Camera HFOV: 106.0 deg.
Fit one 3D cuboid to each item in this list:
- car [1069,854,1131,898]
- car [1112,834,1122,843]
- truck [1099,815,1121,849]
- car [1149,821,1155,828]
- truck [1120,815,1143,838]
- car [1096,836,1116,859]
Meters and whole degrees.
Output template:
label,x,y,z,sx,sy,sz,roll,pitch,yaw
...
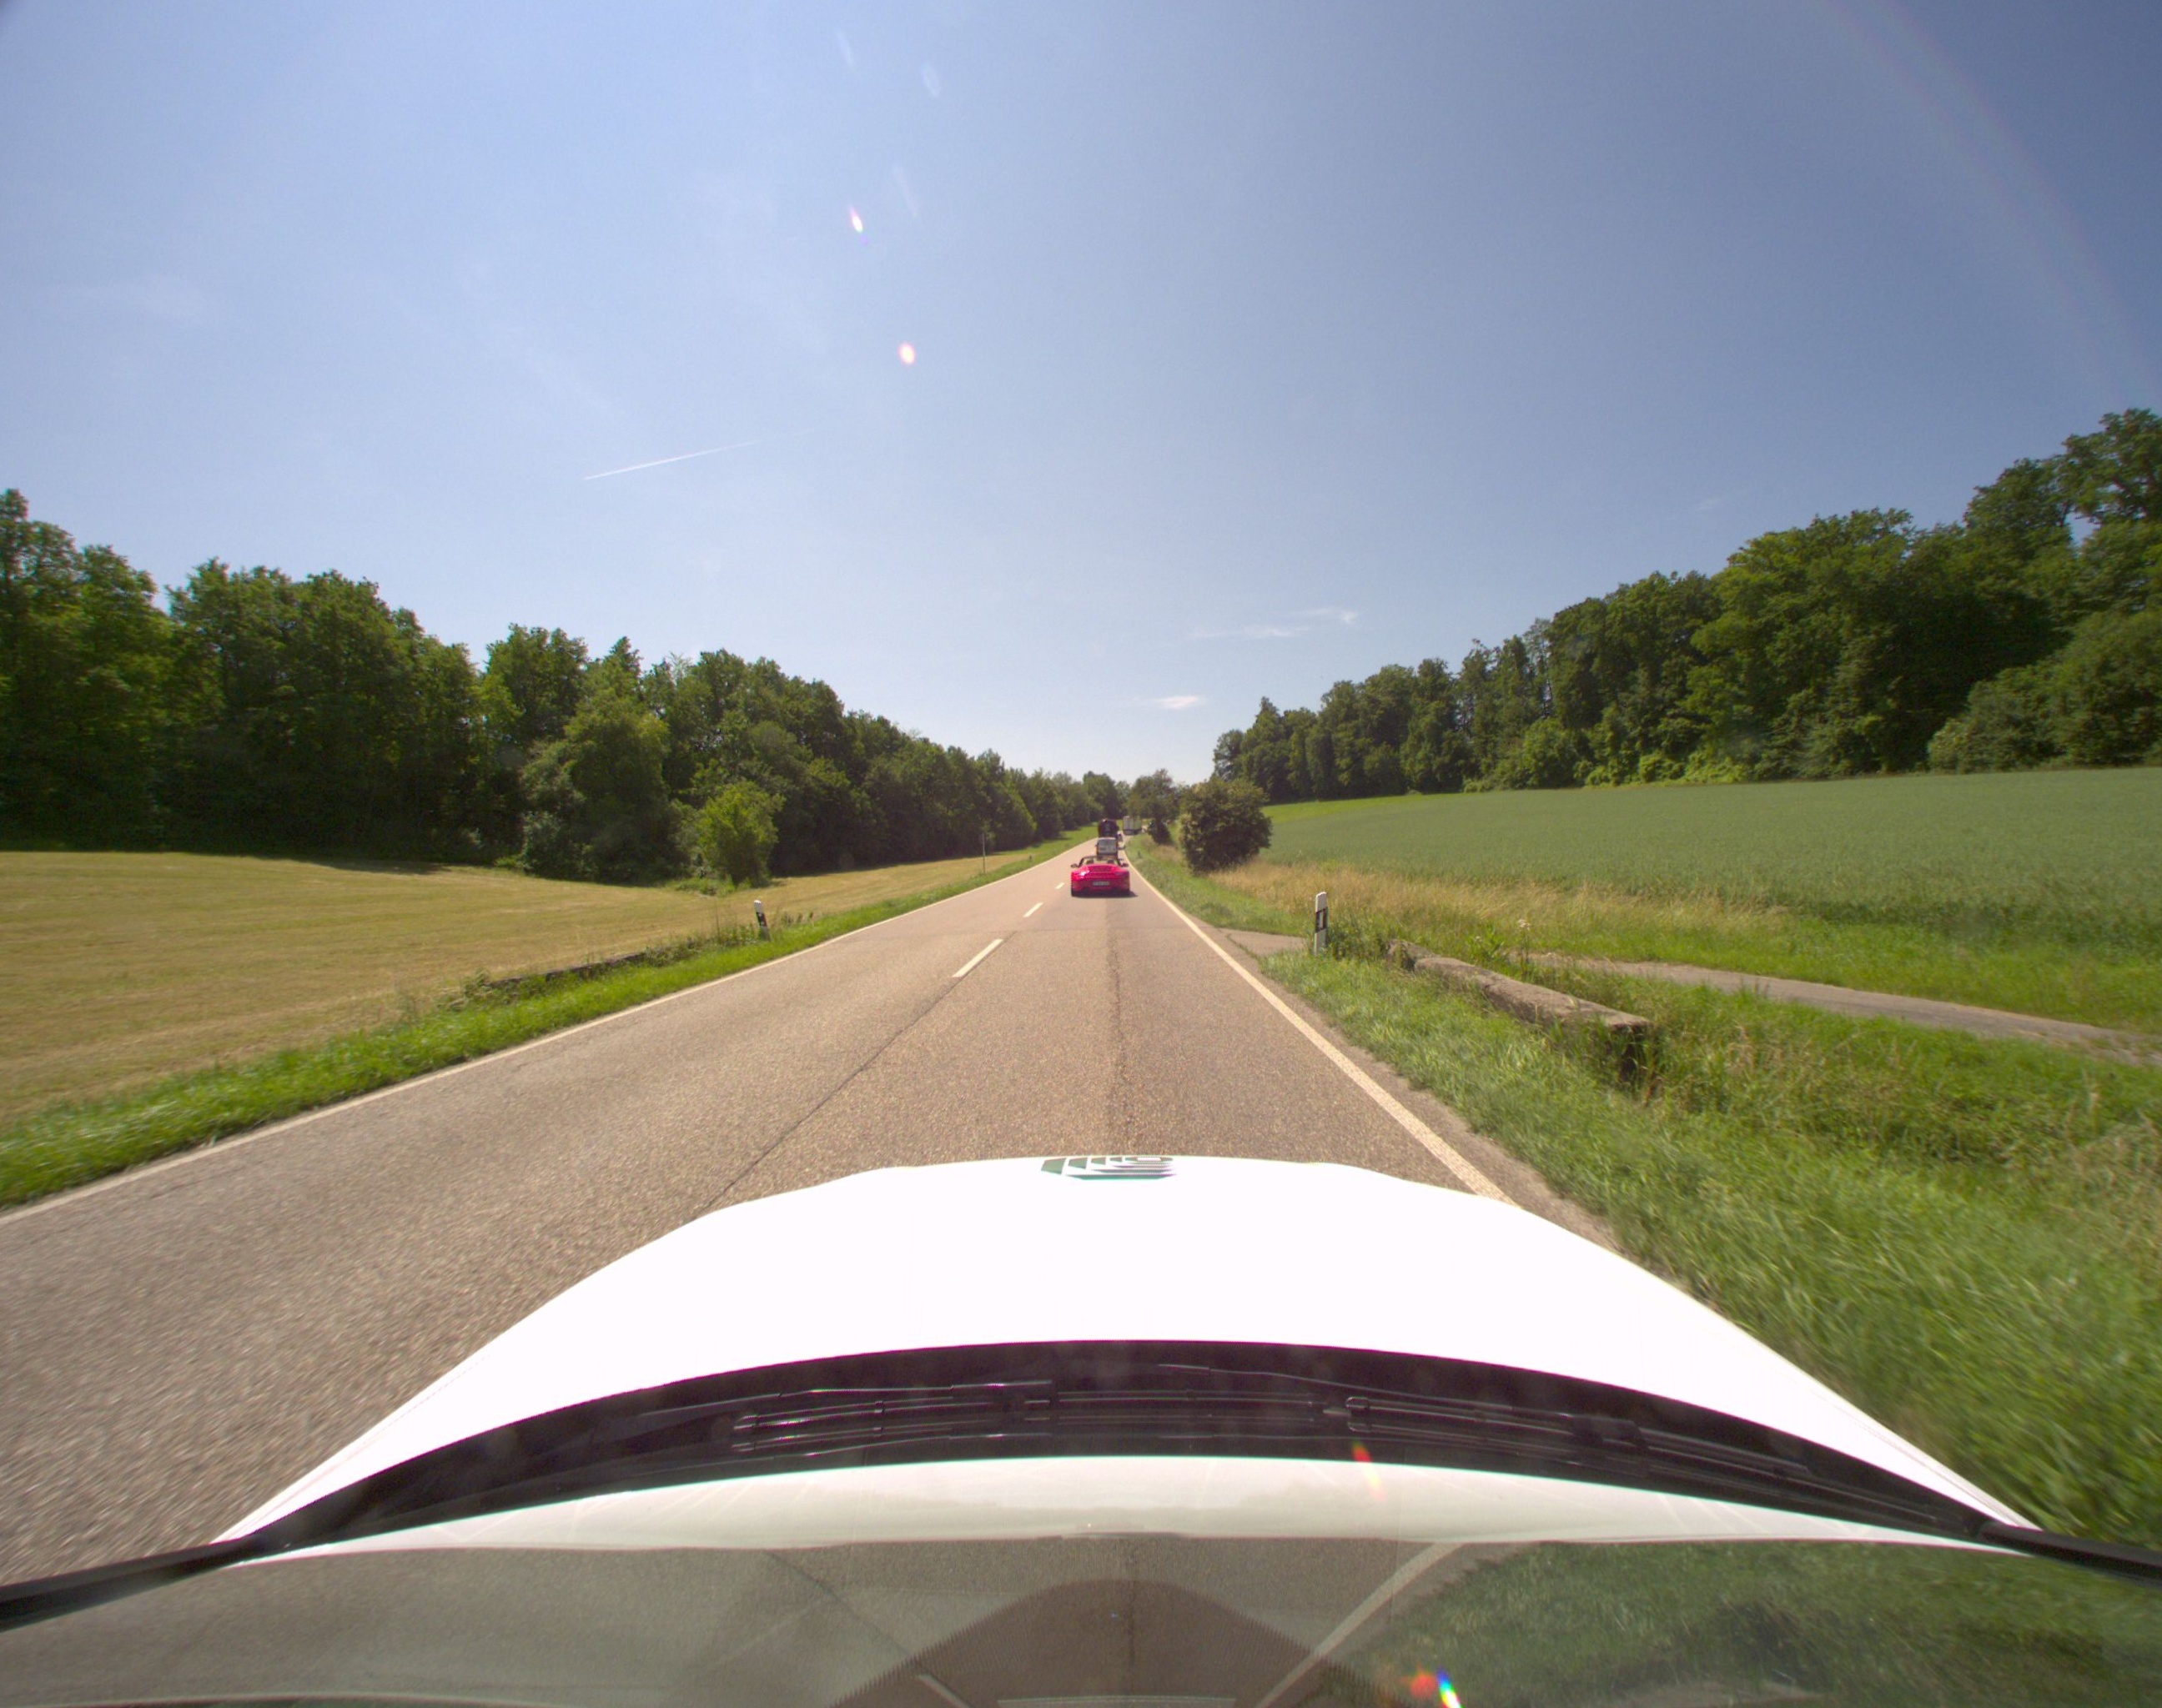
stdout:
label,x,y,z,sx,sy,sz,roll,pitch,yaw
car,0.639,0.652,26.667,1.875,1.255,4.011,-1,1,2
car,6.625,-2.850,148.809,1.823,1.513,4.196,0,3,4
truck,3.722,-2.859,107.704,2.395,4.049,12.554,-4,1,1
car,19.358,-8.045,221.719,1.689,1.496,3.718,-4,3,5
truck,11.539,-6.279,185.462,3.702,4.659,12.070,-1,4,10
car,2.210,-0.583,71.066,1.672,1.900,4.012,-1,2,2
